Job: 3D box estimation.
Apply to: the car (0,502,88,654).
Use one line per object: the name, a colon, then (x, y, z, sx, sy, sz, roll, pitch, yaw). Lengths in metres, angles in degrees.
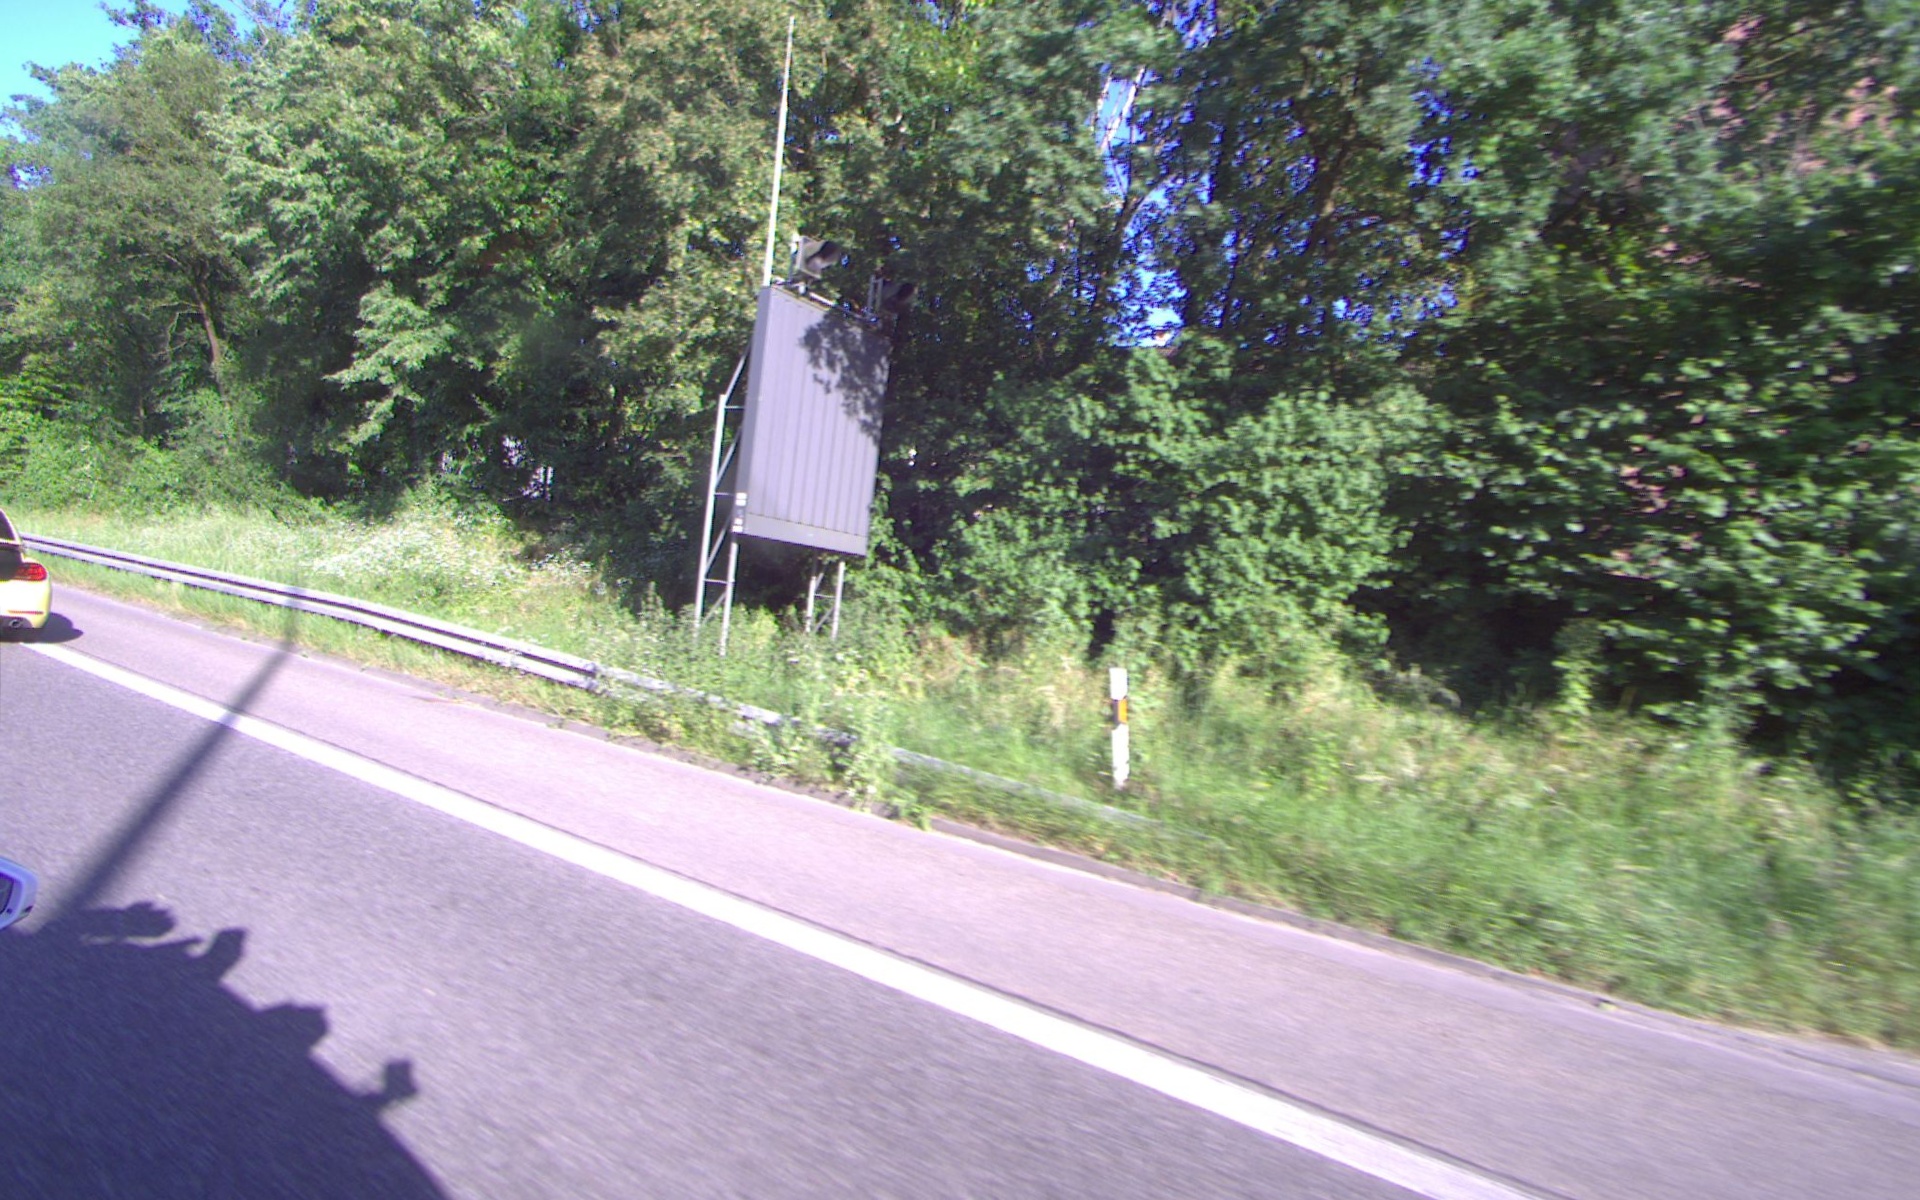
car: (-11.512, -0.464, 10.944, 4.286, 1.478, 1.882, 7, -2, 34)
